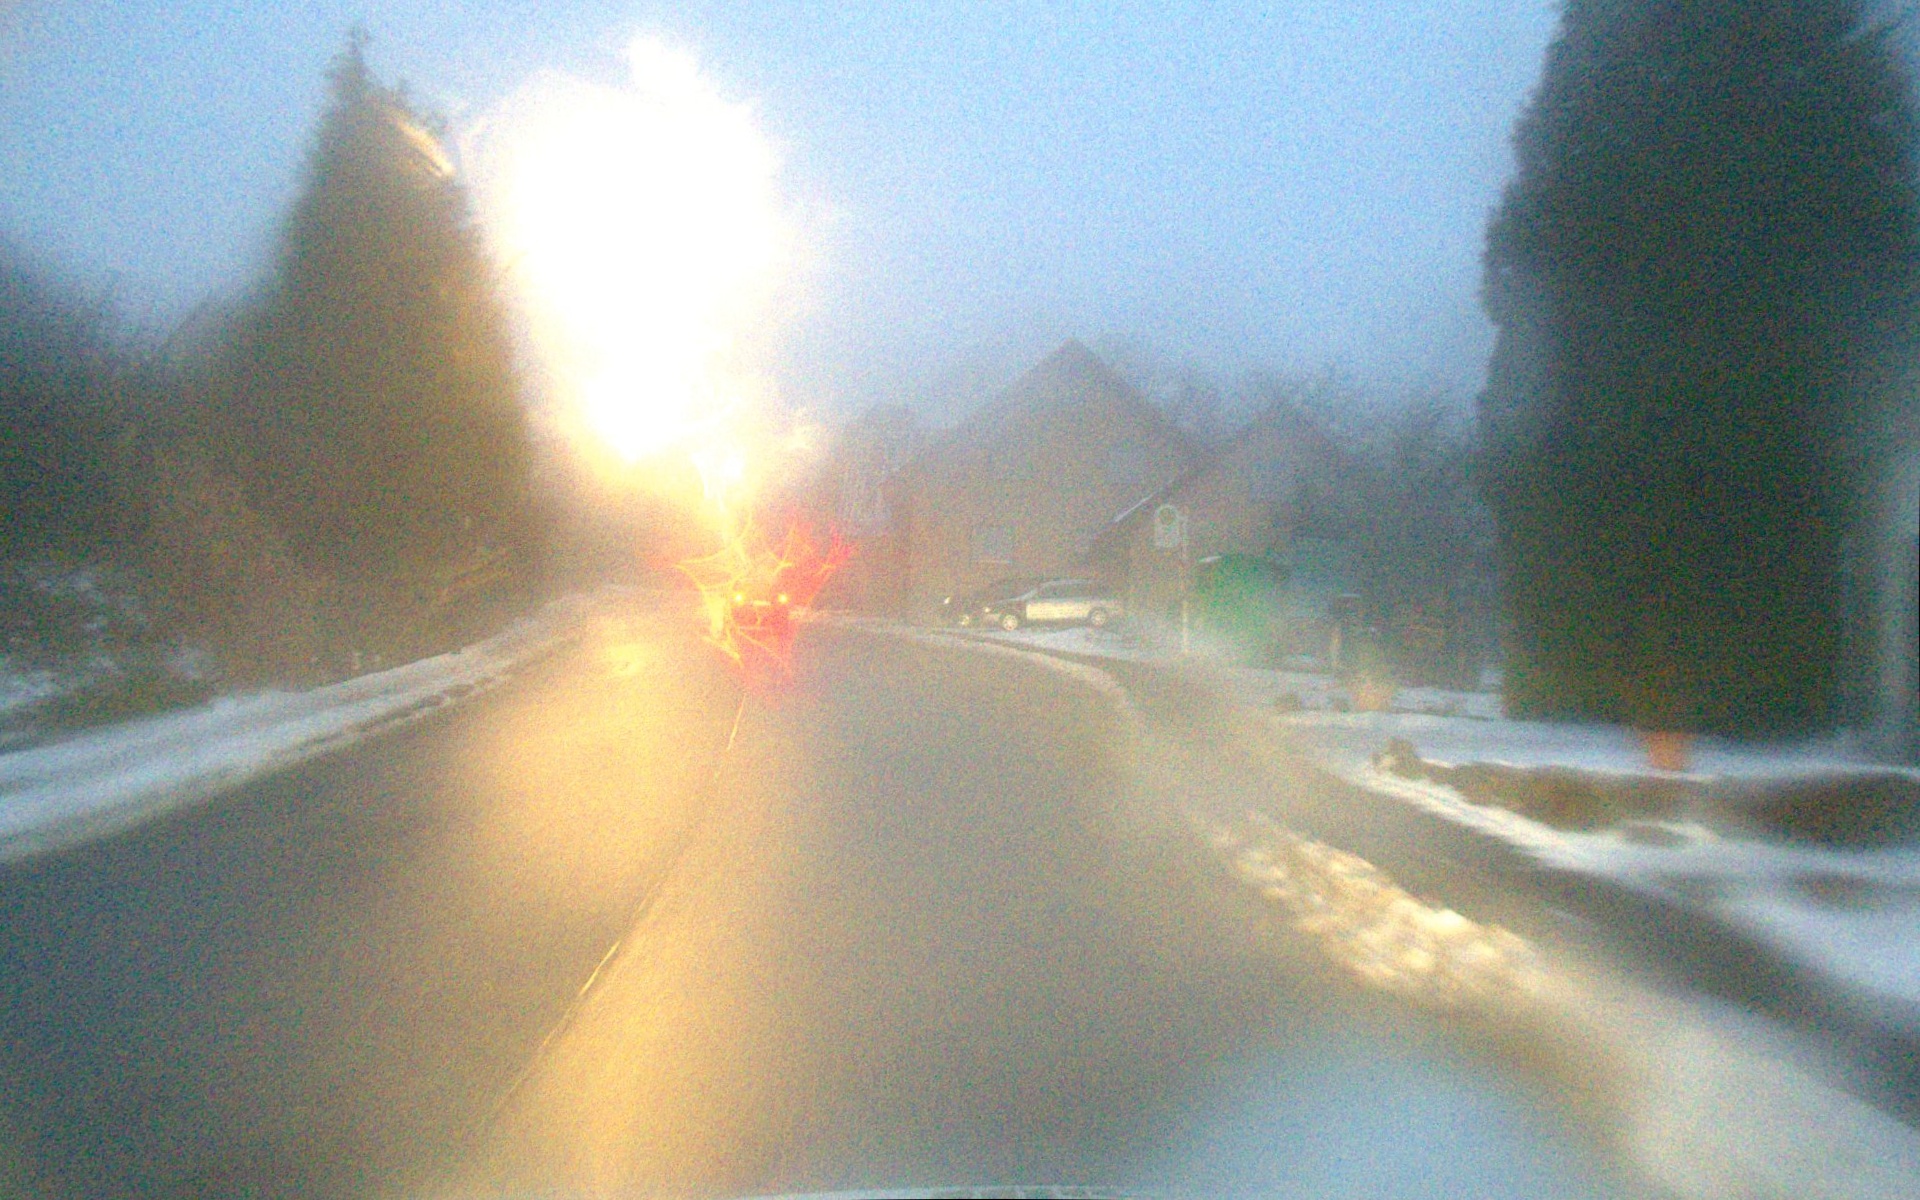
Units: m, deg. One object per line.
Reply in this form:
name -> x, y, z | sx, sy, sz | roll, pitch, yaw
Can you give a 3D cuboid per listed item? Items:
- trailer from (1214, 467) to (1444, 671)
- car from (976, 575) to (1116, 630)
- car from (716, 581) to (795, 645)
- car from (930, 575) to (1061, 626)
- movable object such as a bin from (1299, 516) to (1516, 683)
trailer -> 7.097, -0.539, 32.518 | 2.820, 3.623, 5.054 | 2, -1, -7
car -> 2.615, 0.100, 50.255 | 4.154, 1.586, 2.000 | 0, -2, 2
car -> -6.131, 0.431, 49.264 | 1.959, 1.767, 3.865 | 0, -2, -13
car -> 1.108, 0.034, 53.211 | 4.075, 1.586, 1.945 | 0, -2, -3
movable object such as a bin -> 7.400, 0.012, 27.912 | 2.338, 2.512, 4.514 | 2, -1, -1
